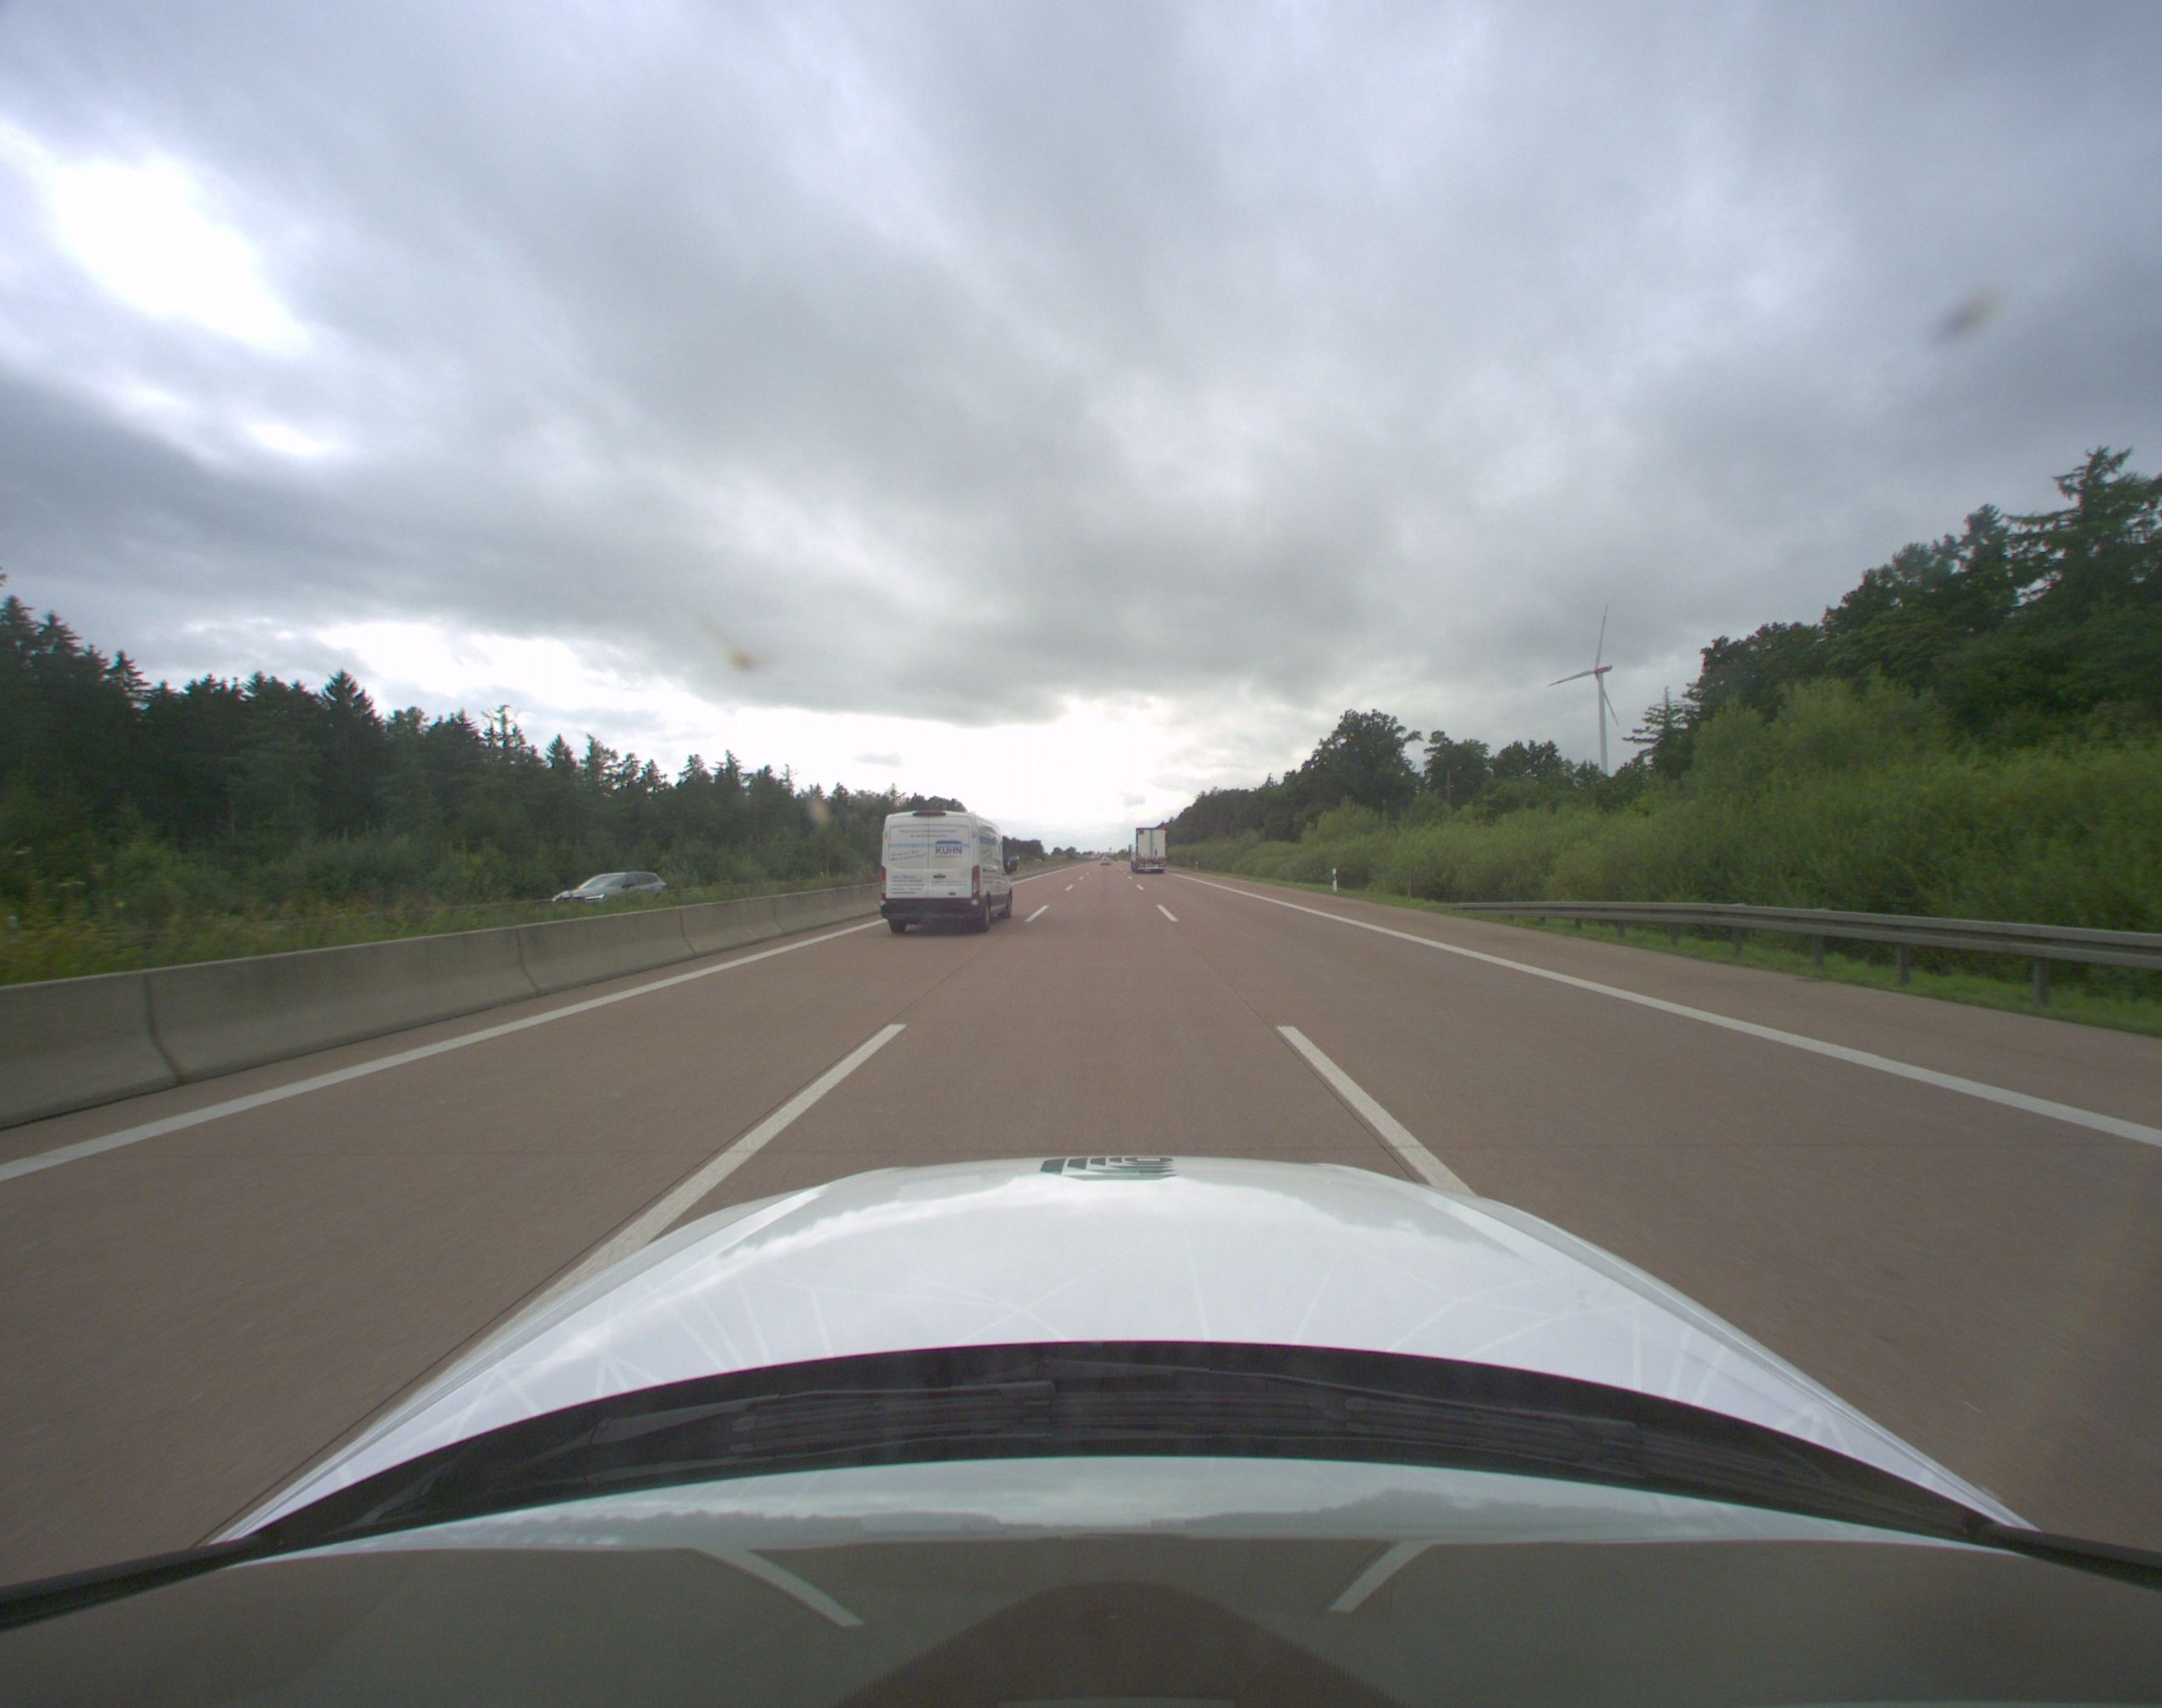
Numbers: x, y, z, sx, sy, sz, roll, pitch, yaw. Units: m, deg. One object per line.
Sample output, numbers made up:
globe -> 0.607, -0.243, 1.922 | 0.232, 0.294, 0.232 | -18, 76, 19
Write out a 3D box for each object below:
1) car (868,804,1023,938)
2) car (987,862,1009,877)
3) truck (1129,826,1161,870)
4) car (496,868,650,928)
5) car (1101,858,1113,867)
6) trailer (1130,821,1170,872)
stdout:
car -> -2.835, 0.310, 19.037 | 2.129, 2.507, 7.135 | -1, 0, 2
car -> -11.734, 2.207, 116.182 | 2.338, 2.030, 5.857 | -1, 0, 2
truck -> 6.494, -0.573, 83.143 | 2.910, 4.294, 5.337 | -1, -1, 2
car -> -16.955, 1.392, 27.544 | 1.986, 1.681, 4.889 | -2, 0, 2
car -> 4.879, 1.594, 153.346 | 2.154, 1.451, 4.723 | 0, 0, 4
trailer -> 6.241, -0.589, 75.552 | 2.910, 4.294, 13.620 | -1, 0, 2
